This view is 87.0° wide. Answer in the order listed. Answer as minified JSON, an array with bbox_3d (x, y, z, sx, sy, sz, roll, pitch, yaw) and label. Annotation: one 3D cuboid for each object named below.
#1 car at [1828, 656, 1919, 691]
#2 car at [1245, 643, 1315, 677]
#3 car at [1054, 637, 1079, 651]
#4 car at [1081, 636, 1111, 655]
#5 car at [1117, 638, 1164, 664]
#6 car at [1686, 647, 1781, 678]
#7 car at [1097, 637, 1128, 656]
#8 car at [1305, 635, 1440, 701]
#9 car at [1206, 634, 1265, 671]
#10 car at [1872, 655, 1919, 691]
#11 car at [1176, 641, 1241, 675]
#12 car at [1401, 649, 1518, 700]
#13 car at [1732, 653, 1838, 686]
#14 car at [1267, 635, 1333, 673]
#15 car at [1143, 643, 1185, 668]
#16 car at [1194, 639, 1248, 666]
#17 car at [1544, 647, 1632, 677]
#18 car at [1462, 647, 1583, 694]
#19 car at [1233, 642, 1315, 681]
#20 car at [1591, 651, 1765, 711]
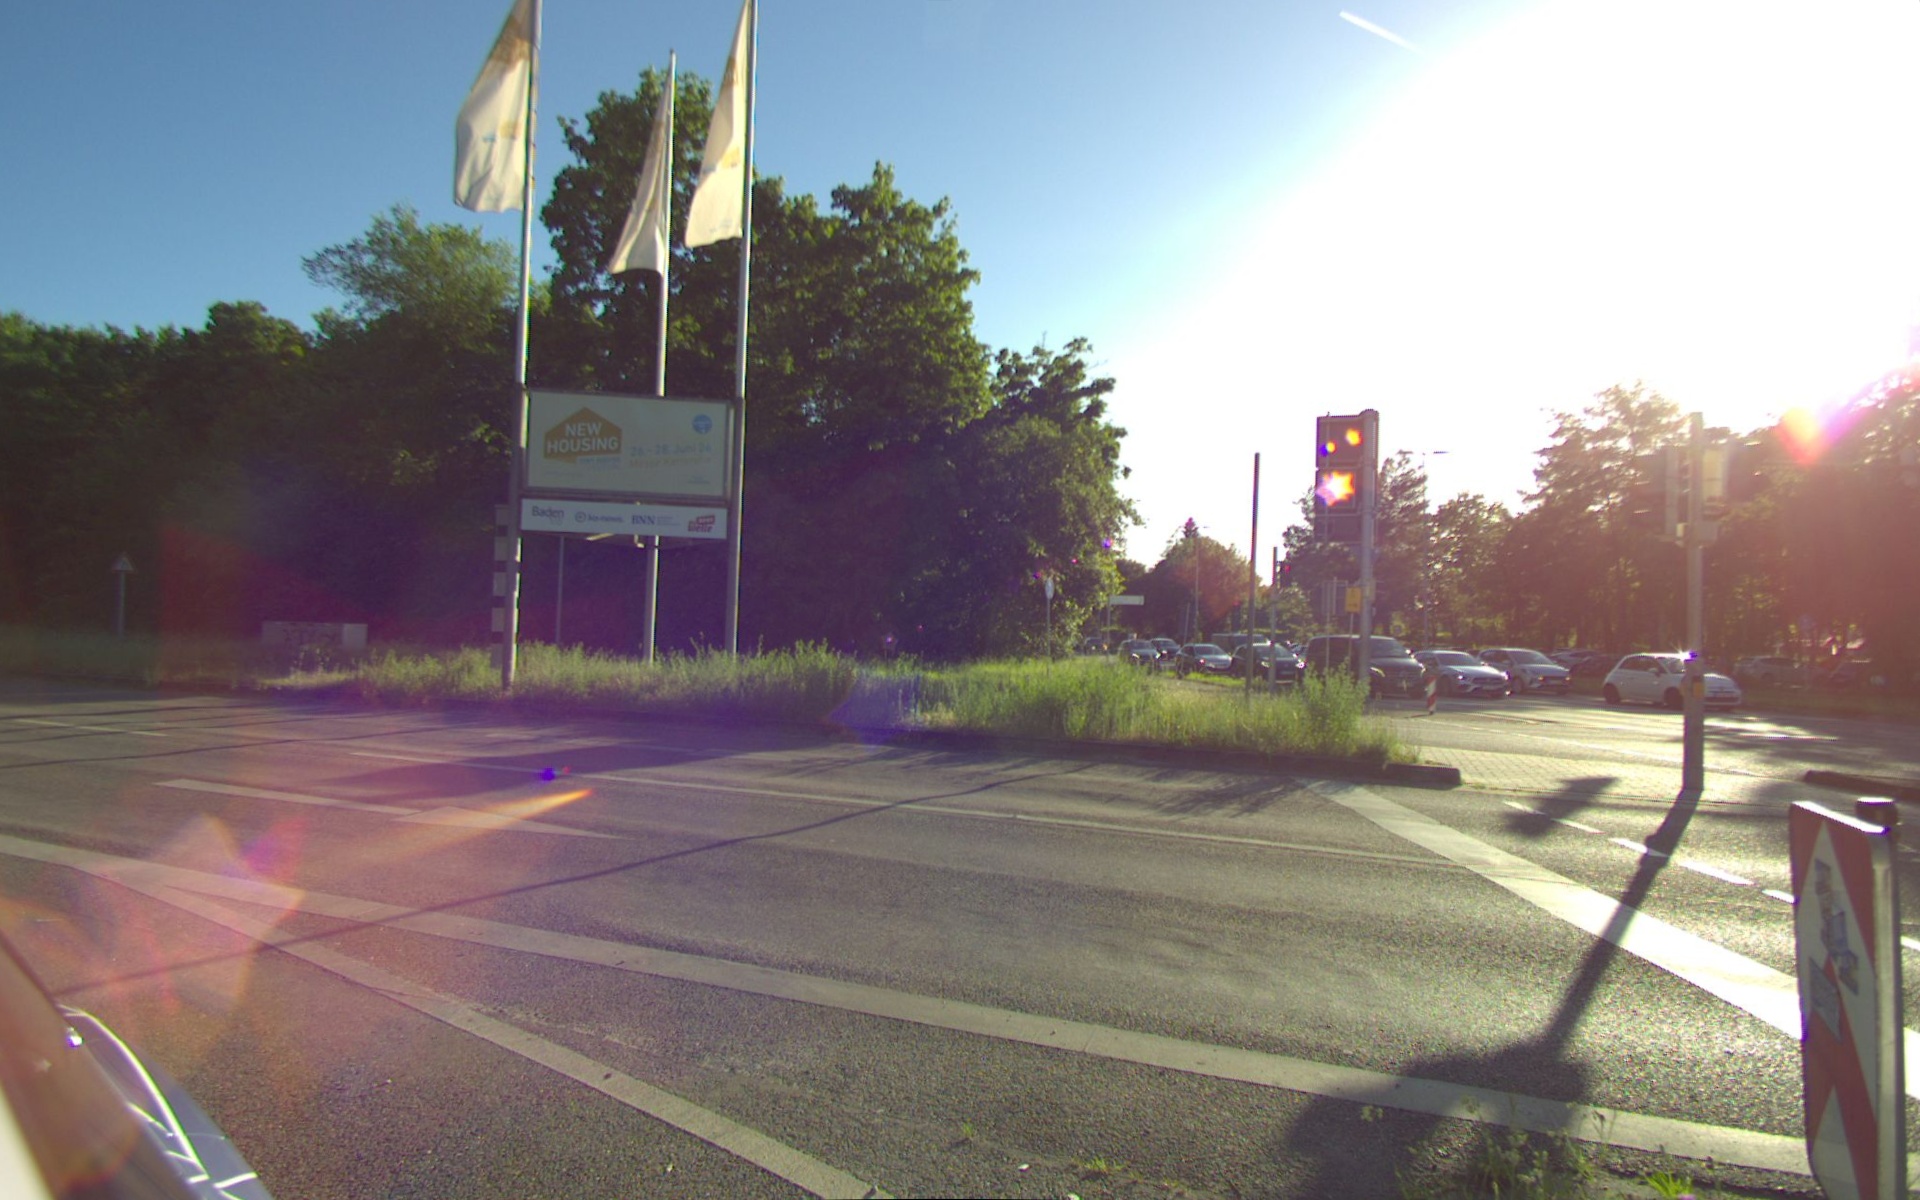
[{"bbox_3d":[45.610,3.634,50.248,3.452,1.612,1.814,1,-2,0],"label":"car"},{"bbox_3d":[14.861,2.763,47.221,1.826,1.400,3.802,2,-2,-4],"label":"car"},{"bbox_3d":[11.828,4.869,112.357,1.745,1.464,4.007,2,-2,-9],"label":"car"},{"bbox_3d":[13.096,4.390,97.692,1.745,1.689,4.007,2,-2,-9],"label":"car"},{"bbox_3d":[10.539,2.968,59.405,1.826,1.400,3.802,2,-2,-4],"label":"car"},{"bbox_3d":[44.540,3.608,58.381,3.927,1.612,1.809,1,-2,9],"label":"car"},{"bbox_3d":[14.932,4.579,99.404,1.738,1.783,4.008,2,-2,-10],"label":"car"},{"bbox_3d":[12.724,2.049,31.621,1.900,1.844,4.937,2,-2,-4],"label":"car"},{"bbox_3d":[14.322,2.694,52.801,1.826,1.772,3.802,2,-2,-4],"label":"car"},{"bbox_3d":[45.777,3.474,47.596,4.137,1.612,1.814,1,-2,0],"label":"car"},{"bbox_3d":[11.324,2.638,46.334,1.826,1.400,3.802,2,-2,-4],"label":"car"},{"bbox_3d":[15.783,2.331,32.203,1.623,1.400,3.802,2,-2,-4],"label":"car"},{"bbox_3d":[44.999,3.762,55.283,4.104,1.612,1.809,1,-2,9],"label":"car"},{"bbox_3d":[17.071,2.702,50.992,1.826,1.772,3.802,2,-2,-4],"label":"car"},{"bbox_3d":[15.294,4.151,76.024,1.745,1.689,4.007,2,-2,-9],"label":"car"},{"bbox_3d":[14.896,2.986,57.930,1.826,1.400,3.802,2,-2,-4],"label":"car"},{"bbox_3d":[37.278,3.670,60.163,3.951,1.631,1.939,1,-2,6],"label":"car"},{"bbox_3d":[19.134,2.368,34.632,1.826,1.400,3.802,2,-2,-4],"label":"car"},{"bbox_3d":[12.427,2.419,40.269,1.826,1.400,3.802,2,-2,-4],"label":"car"},{"bbox_3d":[19.506,2.160,27.717,1.900,1.400,3.802,2,-2,-4],"label":"car"}]
